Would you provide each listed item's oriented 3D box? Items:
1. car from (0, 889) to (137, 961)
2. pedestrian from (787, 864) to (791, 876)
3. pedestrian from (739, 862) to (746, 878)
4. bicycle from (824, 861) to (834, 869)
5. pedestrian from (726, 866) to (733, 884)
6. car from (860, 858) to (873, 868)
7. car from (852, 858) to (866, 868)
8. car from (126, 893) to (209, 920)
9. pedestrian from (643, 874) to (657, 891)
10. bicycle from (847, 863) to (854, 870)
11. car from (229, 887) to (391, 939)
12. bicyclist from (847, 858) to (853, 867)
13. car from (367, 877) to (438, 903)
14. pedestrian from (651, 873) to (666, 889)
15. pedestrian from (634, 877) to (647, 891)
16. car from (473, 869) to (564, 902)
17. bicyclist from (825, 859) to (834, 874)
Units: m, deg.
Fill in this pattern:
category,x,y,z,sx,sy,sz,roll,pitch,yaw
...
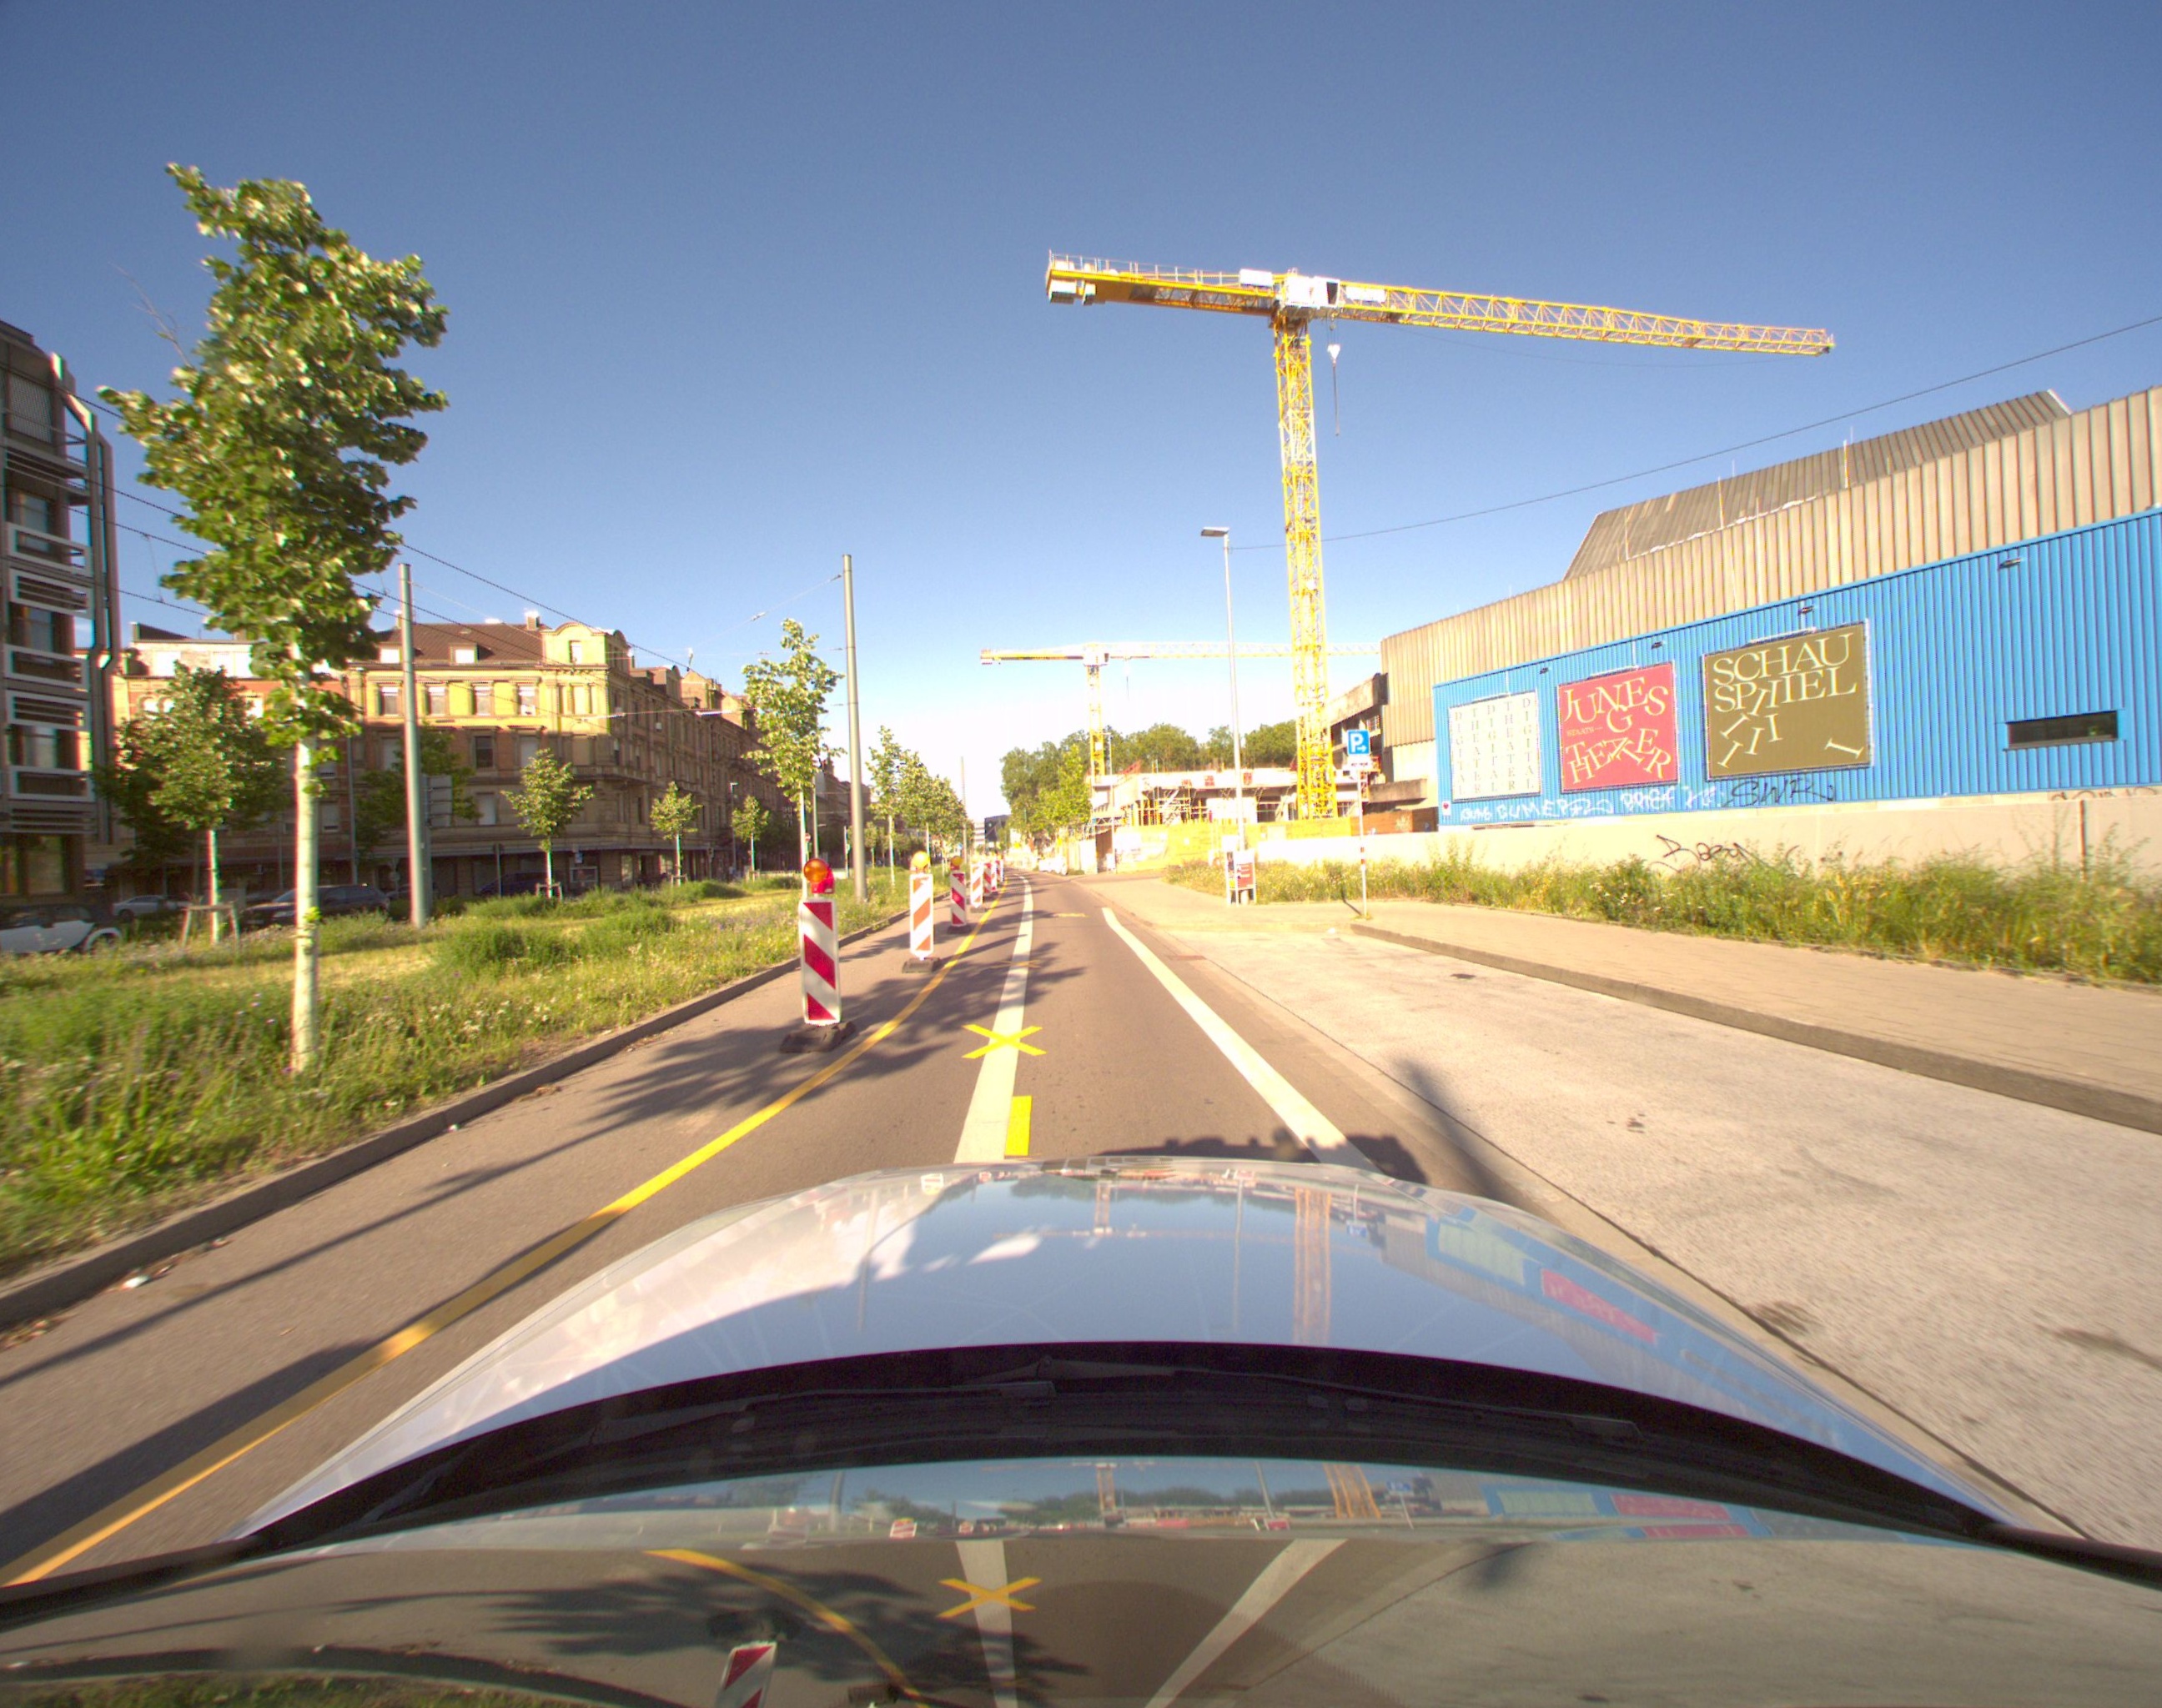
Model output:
category,x,y,z,sx,sy,sz,roll,pitch,yaw
car,-26.334,1.767,19.983,1.643,1.554,3.966,-2,0,1
pedestrian,-37.320,2.068,104.011,0.403,1.585,0.424,0,-1,-8
pedestrian,-32.934,1.566,79.285,0.486,1.585,0.532,0,-1,-8
bicycle,-29.480,1.288,95.240,0.694,0.978,1.823,-2,0,-6
pedestrian,-34.223,2.011,79.335,0.507,1.765,0.405,0,-1,-8
car,-37.195,1.498,140.984,1.565,1.562,4.701,-2,0,-8
car,-36.114,1.426,132.543,1.565,1.562,4.702,-2,0,-8
car,-56.123,3.226,50.083,3.055,1.409,1.479,-3,0,-12
pedestrian,-33.628,2.223,63.548,0.689,1.246,0.927,-2,0,-7
bicycle,-31.024,1.651,109.560,0.636,0.857,2.027,-2,0,-6
car,-26.547,1.990,28.242,1.722,1.461,3.904,0,0,4
bicyclist,-31.027,1.177,109.440,0.636,1.239,0.737,-2,0,-7
car,-43.833,2.312,52.666,3.147,1.468,1.378,-3,0,-12
pedestrian,-33.852,2.190,65.279,0.790,1.208,0.927,-2,0,-7
pedestrian,-34.604,2.334,63.991,0.689,1.059,0.734,-2,0,-7
car,-37.245,2.060,54.058,4.513,1.903,1.890,-3,0,-12
bicyclist,-29.546,1.472,95.682,0.694,1.657,0.880,-2,0,-7
